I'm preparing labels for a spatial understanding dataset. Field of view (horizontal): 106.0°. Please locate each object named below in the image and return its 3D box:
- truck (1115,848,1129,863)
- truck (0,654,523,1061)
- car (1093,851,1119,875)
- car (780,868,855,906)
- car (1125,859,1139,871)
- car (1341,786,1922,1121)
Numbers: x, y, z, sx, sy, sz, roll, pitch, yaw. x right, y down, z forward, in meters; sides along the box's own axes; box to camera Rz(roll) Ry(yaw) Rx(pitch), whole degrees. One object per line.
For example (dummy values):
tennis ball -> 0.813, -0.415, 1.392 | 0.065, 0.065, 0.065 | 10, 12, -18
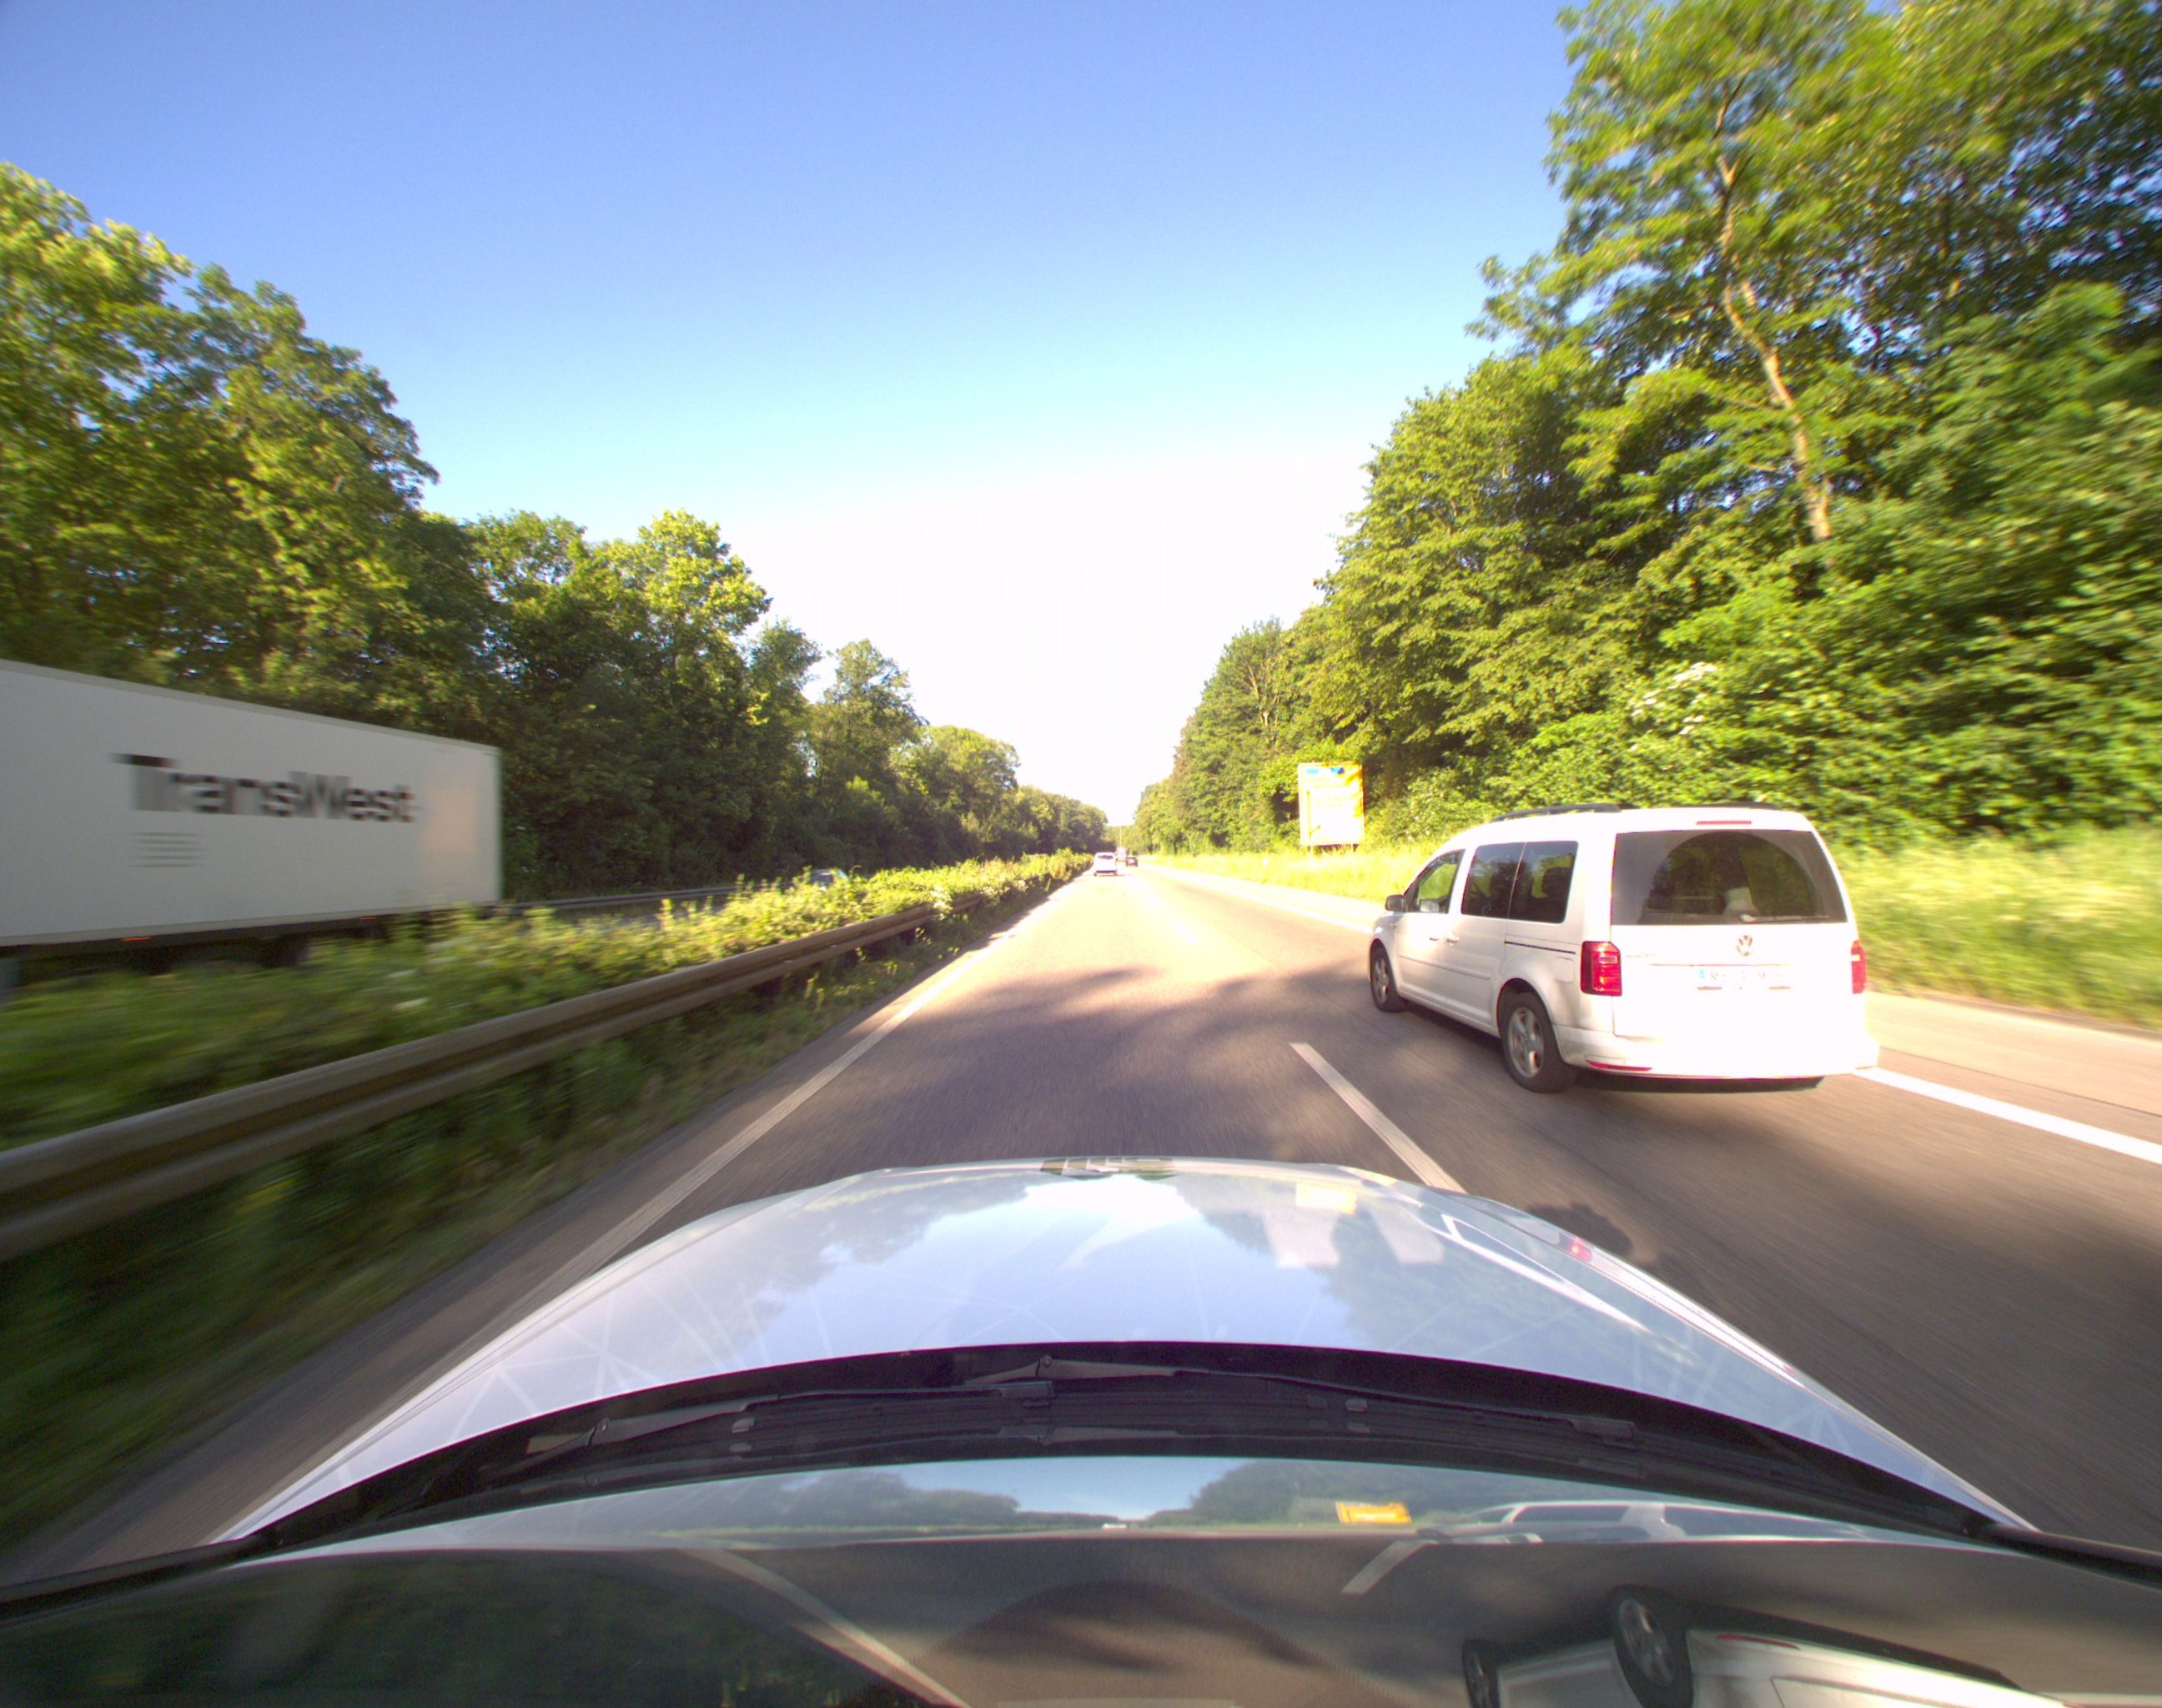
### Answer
truck -> 11.710, 0.513, 232.951 | 3.720, 4.343, 9.308 | 0, -1, 2
truck -> -12.280, 0.048, 8.009 | 3.231, 4.013, 14.457 | 0, 0, 2
car -> 1.978, 0.722, 64.238 | 1.944, 1.782, 4.589 | 0, -1, 1
car -> -10.933, 1.347, 34.035 | 1.757, 1.473, 3.794 | 0, -1, 2
car -> 7.592, 1.665, 120.944 | 1.944, 1.782, 4.589 | 0, -1, 1
car -> 3.733, 0.568, 6.744 | 1.792, 1.813, 4.589 | 0, -1, 1
